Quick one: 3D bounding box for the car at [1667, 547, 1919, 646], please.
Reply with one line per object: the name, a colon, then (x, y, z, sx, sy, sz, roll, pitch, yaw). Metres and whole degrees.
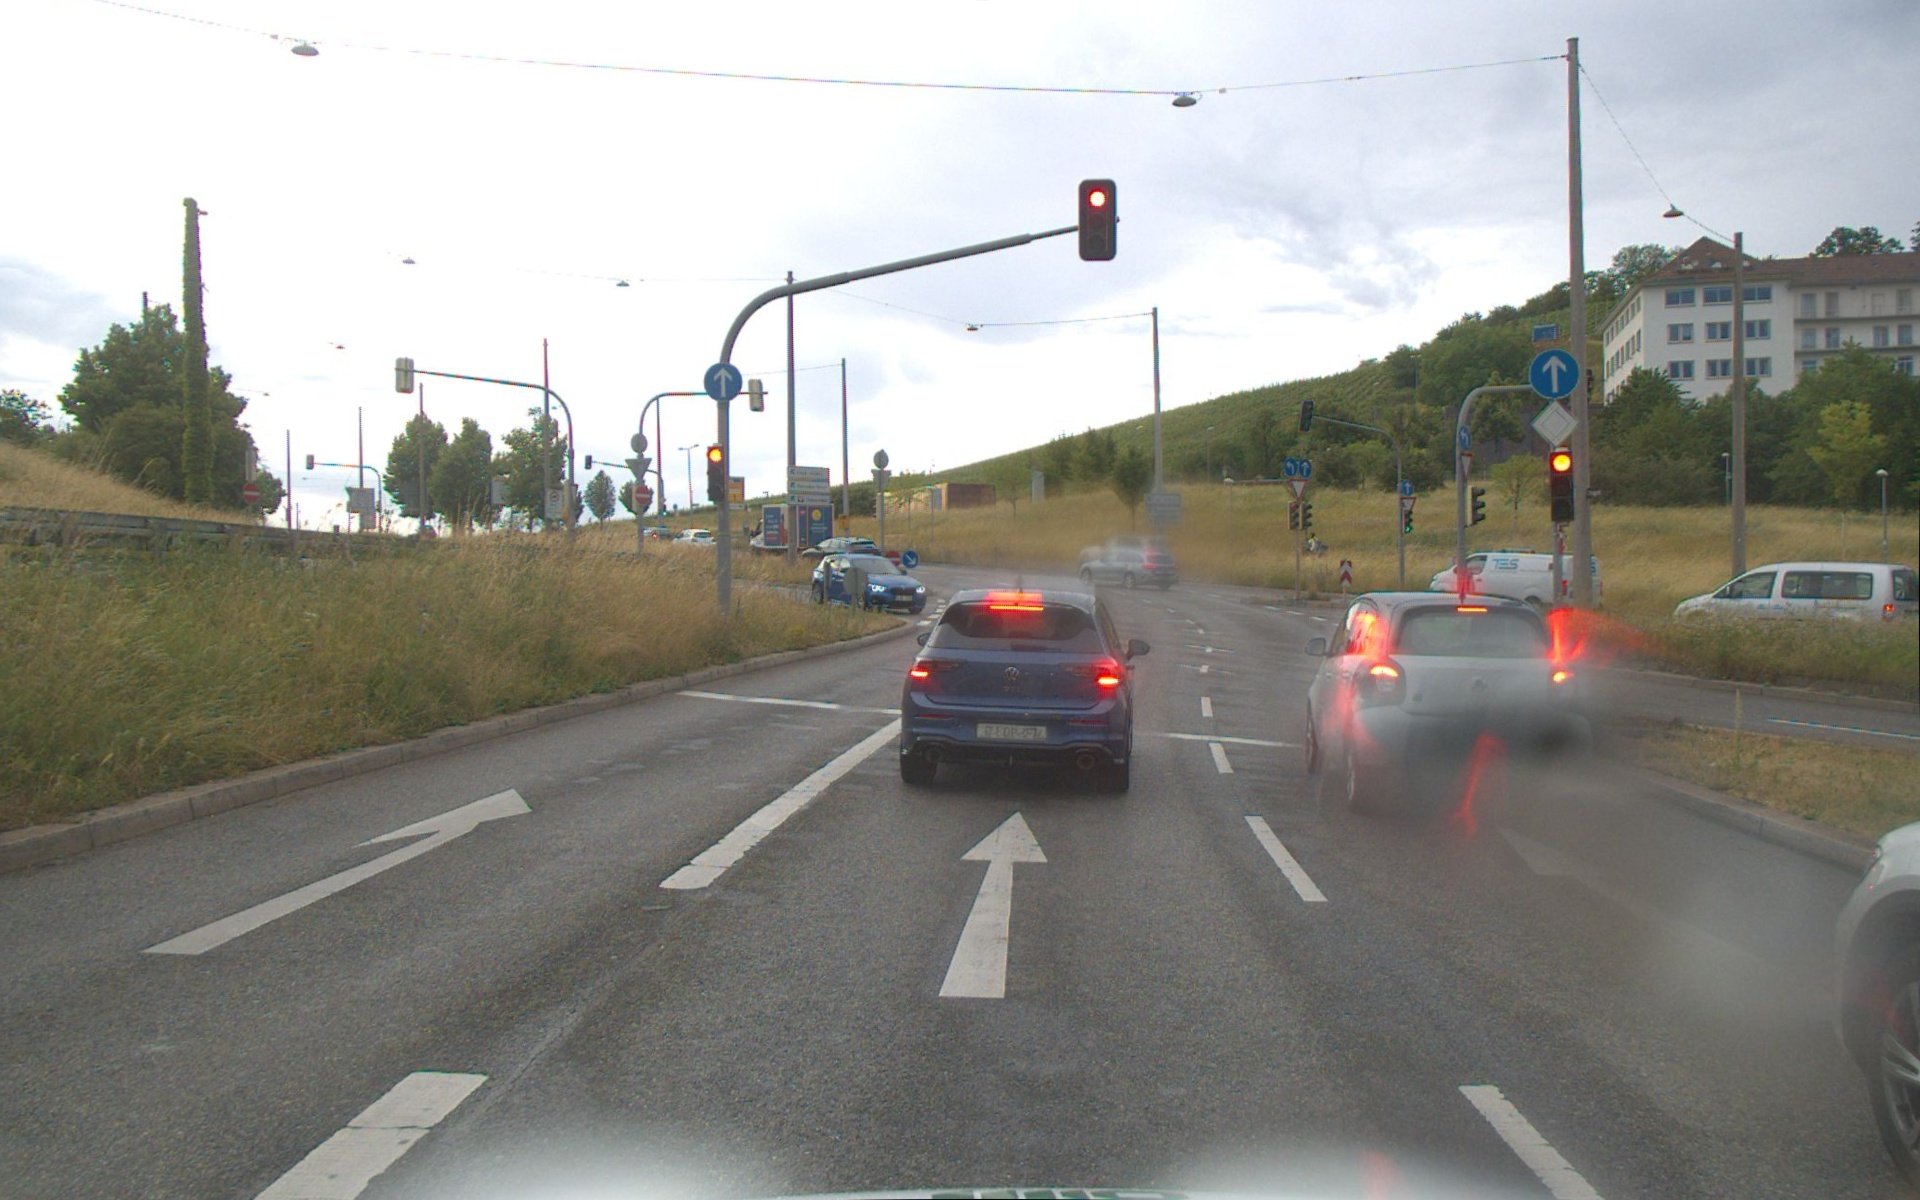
car: (17.125, -0.068, 33.809, 1.803, 1.882, 4.633, 1, 0, -38)

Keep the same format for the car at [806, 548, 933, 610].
car: (-2.428, -0.533, 43.387, 1.676, 1.501, 4.252, 1, 0, -28)

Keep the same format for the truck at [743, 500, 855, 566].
truck: (-8.509, -3.528, 86.720, 3.229, 3.127, 6.105, 3, 1, -34)

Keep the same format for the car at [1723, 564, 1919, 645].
car: (19.159, 0.095, 35.748, 1.980, 1.649, 4.462, 1, 0, -39)

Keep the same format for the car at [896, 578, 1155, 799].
car: (0.644, 0.587, 13.408, 1.786, 1.486, 3.811, 1, 1, 6)

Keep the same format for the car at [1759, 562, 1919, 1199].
car: (3.261, 0.706, 2.807, 1.678, 1.580, 4.228, 1, 0, -1)

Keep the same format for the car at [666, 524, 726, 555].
car: (-15.890, -3.606, 99.354, 1.975, 1.688, 4.493, 1, 0, -33)

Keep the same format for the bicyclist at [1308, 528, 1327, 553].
bicyclist: (16.022, -2.654, 74.147, 0.520, 1.064, 0.572, 3, 1, -40)

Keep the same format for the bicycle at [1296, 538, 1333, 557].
bicycle: (15.920, -2.363, 74.245, 0.515, 0.788, 1.598, 3, 1, -40)

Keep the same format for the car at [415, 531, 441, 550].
car: (-52.867, -5.929, 164.240, 1.735, 1.735, 3.701, 3, 1, -29)

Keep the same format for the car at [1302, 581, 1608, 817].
car: (3.635, 0.659, 12.696, 1.622, 1.529, 3.453, 1, 0, 6)

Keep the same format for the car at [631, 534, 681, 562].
car: (-20.368, -3.475, 110.755, 1.971, 1.688, 4.502, 1, 0, -29)

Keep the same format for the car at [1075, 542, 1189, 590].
car: (6.515, -1.268, 63.012, 1.975, 1.688, 4.493, 1, 0, -33)

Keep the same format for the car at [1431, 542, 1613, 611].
car: (16.010, -0.651, 47.345, 2.108, 1.826, 4.690, 1, 0, -31)

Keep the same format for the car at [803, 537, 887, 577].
car: (-5.224, -1.927, 74.748, 1.975, 1.688, 4.304, 1, 0, -33)
